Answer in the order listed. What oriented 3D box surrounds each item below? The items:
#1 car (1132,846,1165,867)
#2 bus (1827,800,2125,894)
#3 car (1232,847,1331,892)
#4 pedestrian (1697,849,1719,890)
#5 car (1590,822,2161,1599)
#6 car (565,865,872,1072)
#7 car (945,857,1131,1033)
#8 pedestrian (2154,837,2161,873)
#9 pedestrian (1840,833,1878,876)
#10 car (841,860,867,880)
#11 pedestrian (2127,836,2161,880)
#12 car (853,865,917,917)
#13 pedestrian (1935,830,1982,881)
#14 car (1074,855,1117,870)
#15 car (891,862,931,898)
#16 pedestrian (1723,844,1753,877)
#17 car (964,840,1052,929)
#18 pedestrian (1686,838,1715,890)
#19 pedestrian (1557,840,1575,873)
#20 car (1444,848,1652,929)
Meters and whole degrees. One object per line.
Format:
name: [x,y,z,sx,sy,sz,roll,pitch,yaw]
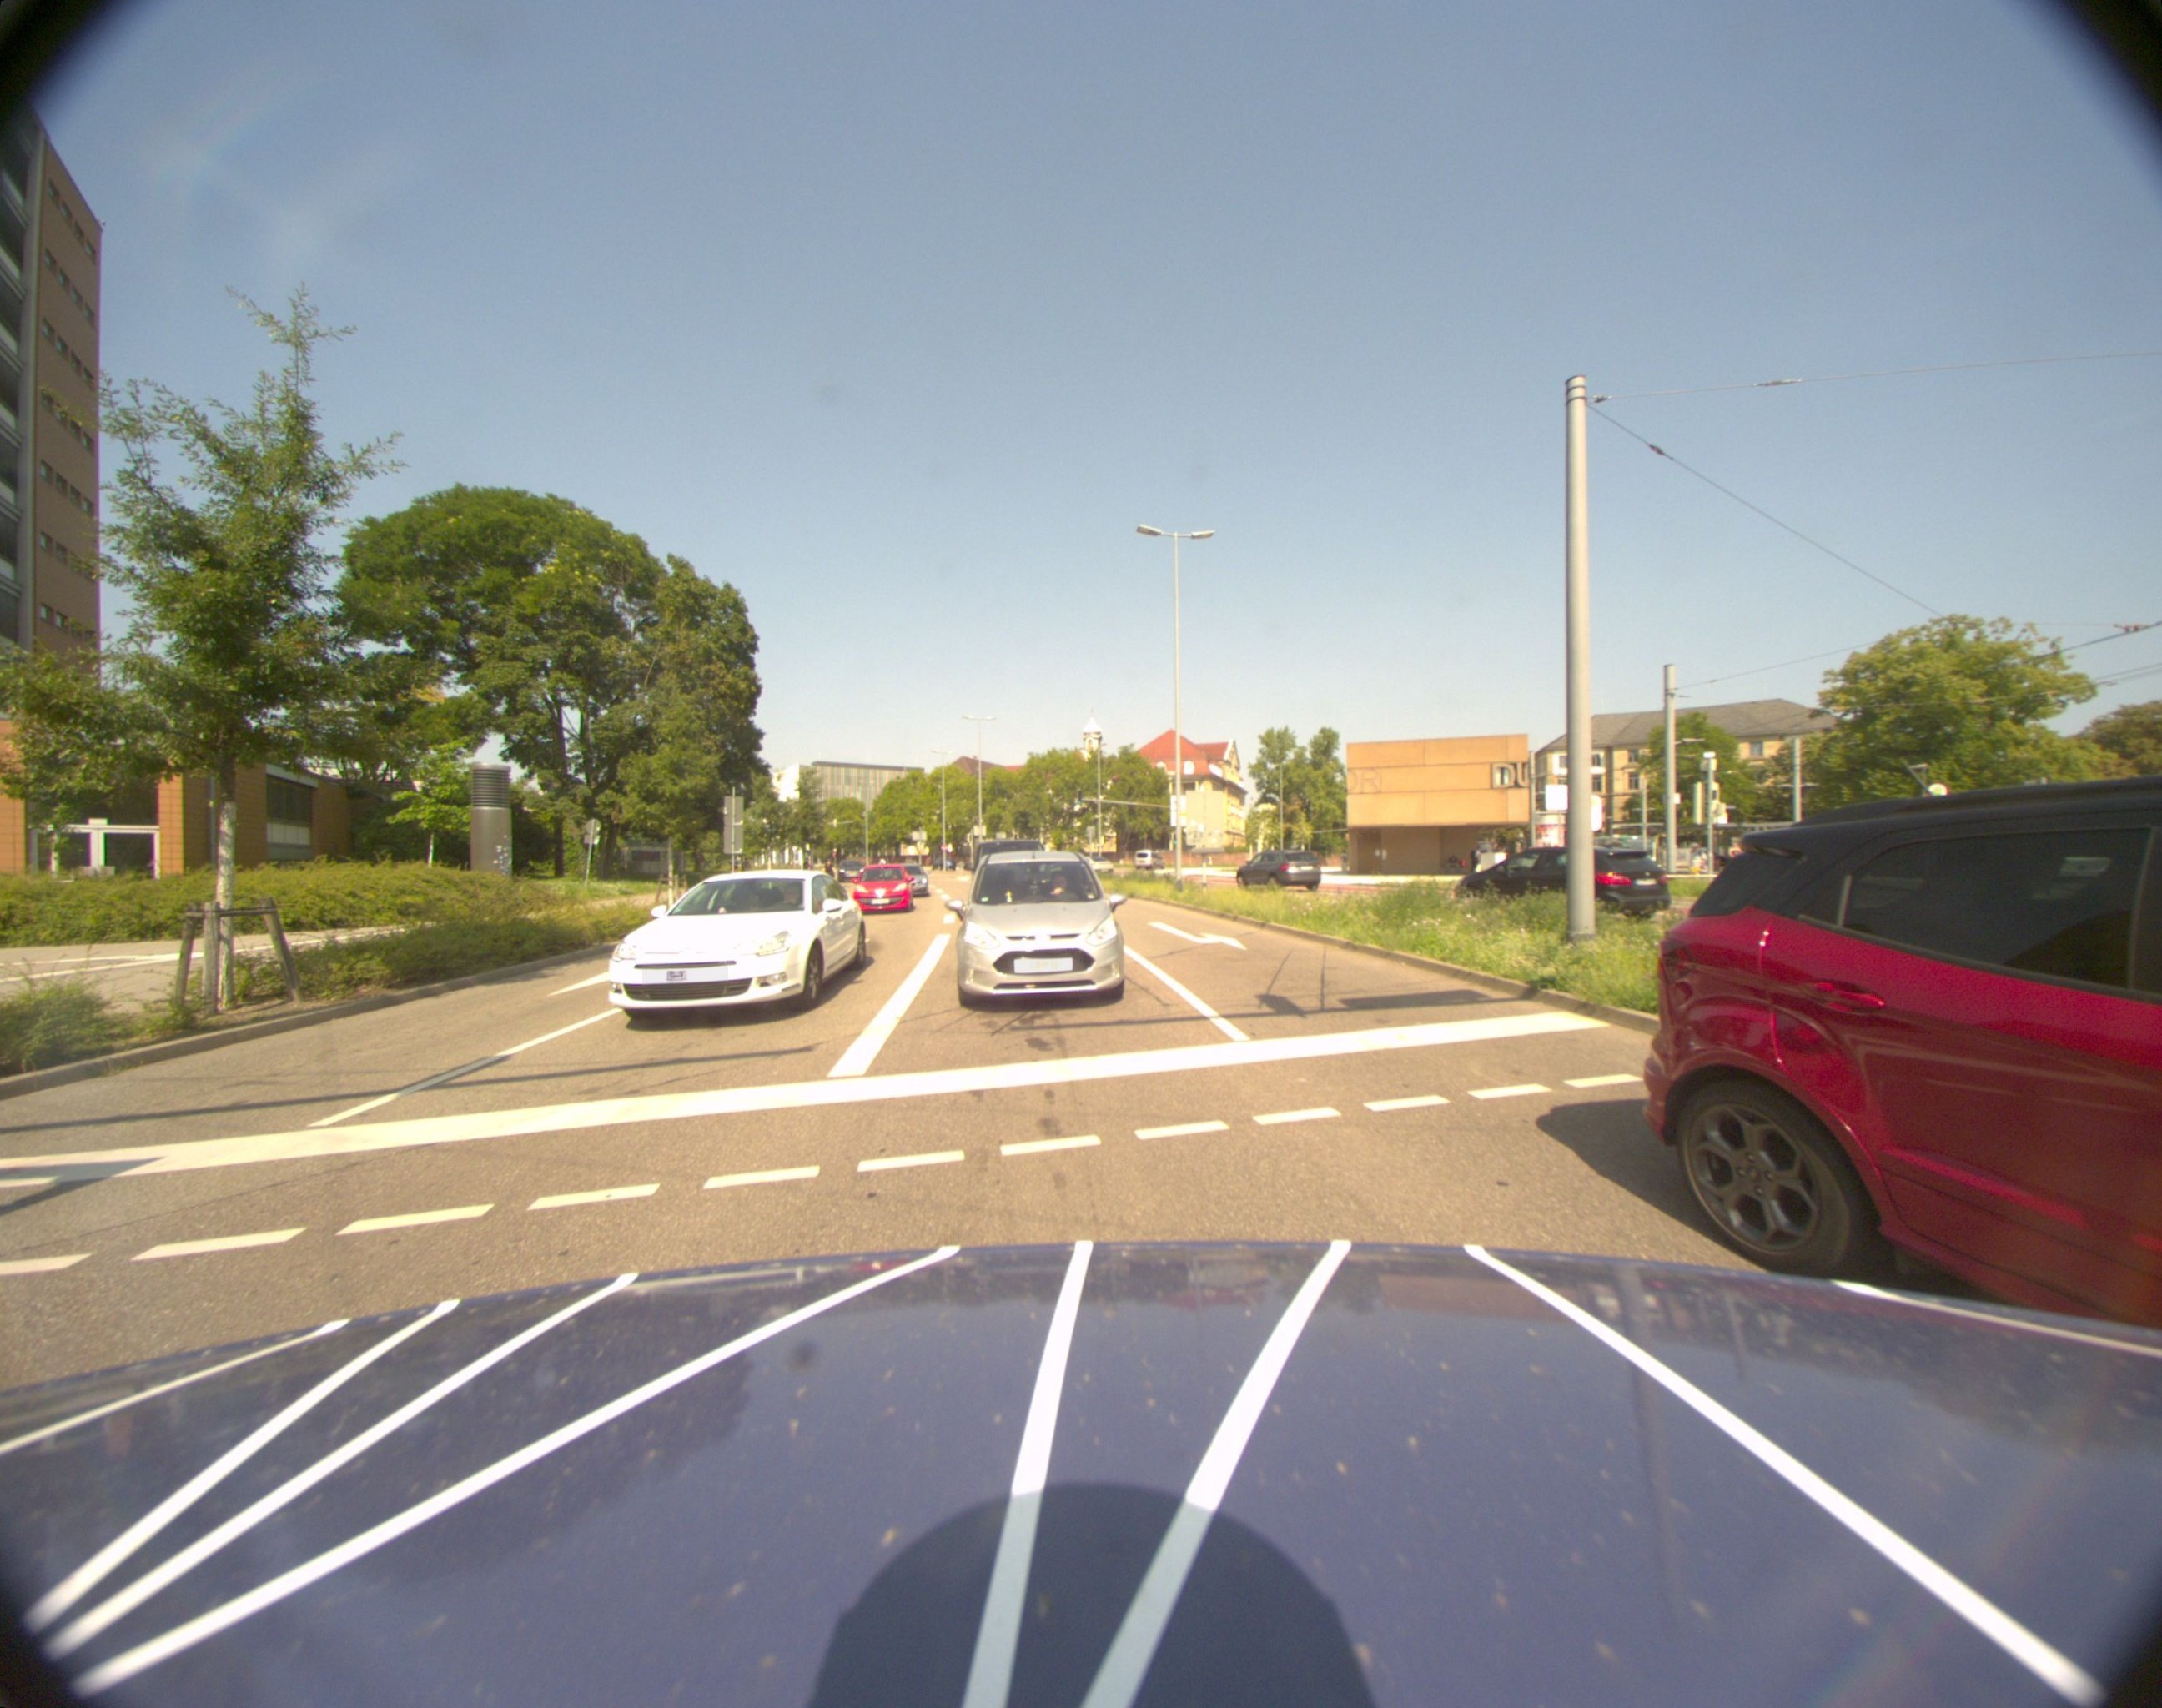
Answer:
car: [6.535,0.220,72.845,1.995,1.958,4.007,-1,0,23]
bus: [38.142,-0.300,33.460,2.671,3.311,12.777,0,0,21]
car: [7.975,0.595,30.756,1.904,1.643,4.651,-1,0,-13]
pedestrian: [21.426,0.521,25.969,0.461,1.367,0.349,-1,0,-4]
car: [3.141,0.737,1.213,1.767,1.608,4.081,0,0,-3]
car: [-3.754,1.018,8.890,1.771,1.609,4.600,-2,1,-6]
car: [-0.450,0.850,9.232,1.692,1.585,4.360,-1,0,-1]
pedestrian: [45.759,0.050,31.758,0.783,1.539,0.679,1,1,16]
pedestrian: [32.807,0.024,32.039,0.960,1.769,0.784,1,0,-20]
car: [-16.496,1.126,55.306,1.618,1.414,3.602,-1,0,-14]
pedestrian: [37.344,0.134,26.624,0.576,1.519,0.601,1,0,21]
car: [-5.923,1.067,23.289,1.517,1.400,3.356,-1,0,-8]
pedestrian: [30.809,0.060,26.687,0.960,1.769,0.784,1,0,-20]
car: [1.013,0.590,55.797,1.851,1.020,4.326,-1,0,-18]
car: [-7.221,1.059,32.484,1.518,1.331,3.504,-2,1,-11]
pedestrian: [35.812,0.362,41.408,0.786,1.769,0.958,1,0,-17]
car: [-1.762,0.676,19.033,1.900,1.919,4.883,0,0,-4]
pedestrian: [21.582,0.344,26.486,0.560,1.805,0.560,-1,0,-4]
pedestrian: [24.217,0.110,37.940,0.572,1.636,0.511,-3,1,-20]
car: [9.789,0.647,16.278,1.680,1.511,3.701,-1,0,-14]
